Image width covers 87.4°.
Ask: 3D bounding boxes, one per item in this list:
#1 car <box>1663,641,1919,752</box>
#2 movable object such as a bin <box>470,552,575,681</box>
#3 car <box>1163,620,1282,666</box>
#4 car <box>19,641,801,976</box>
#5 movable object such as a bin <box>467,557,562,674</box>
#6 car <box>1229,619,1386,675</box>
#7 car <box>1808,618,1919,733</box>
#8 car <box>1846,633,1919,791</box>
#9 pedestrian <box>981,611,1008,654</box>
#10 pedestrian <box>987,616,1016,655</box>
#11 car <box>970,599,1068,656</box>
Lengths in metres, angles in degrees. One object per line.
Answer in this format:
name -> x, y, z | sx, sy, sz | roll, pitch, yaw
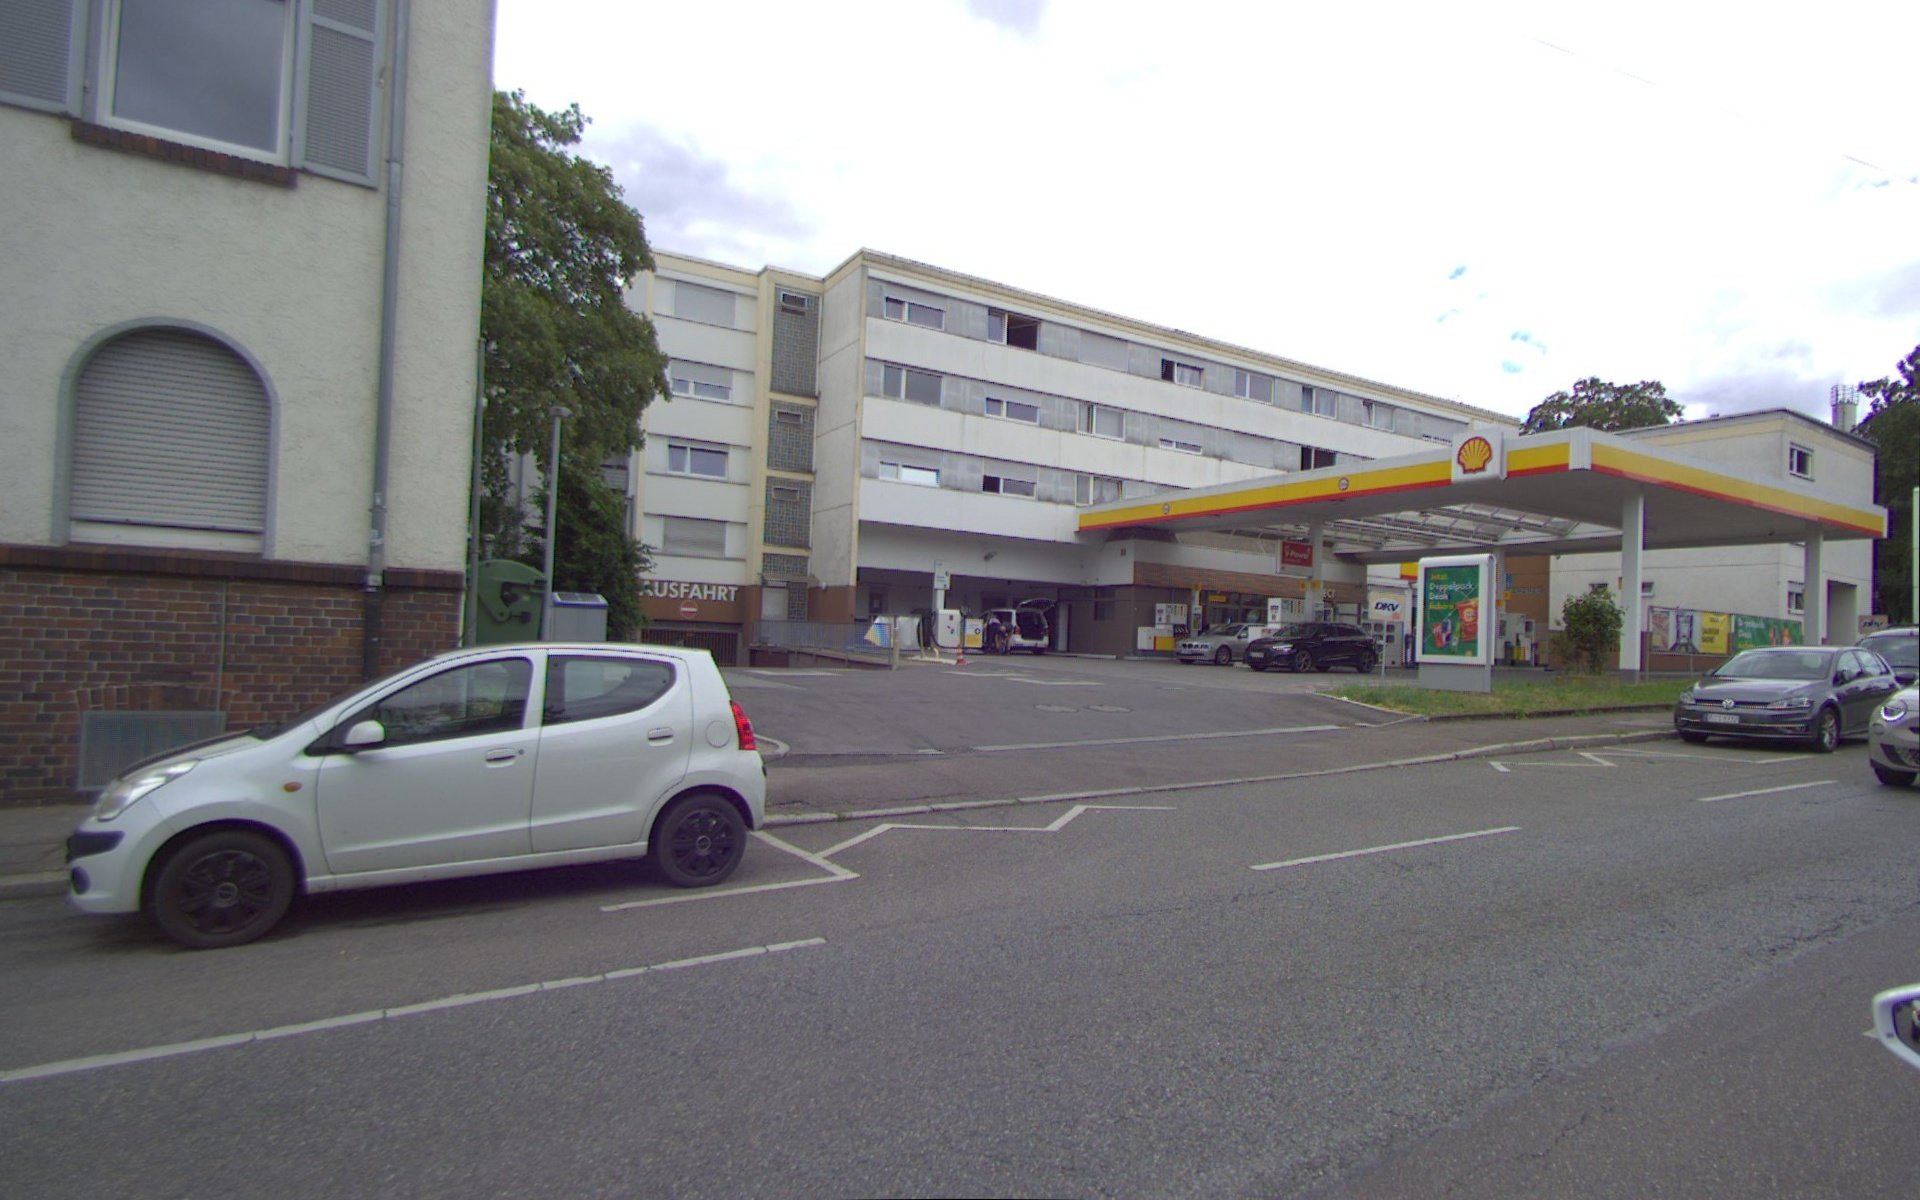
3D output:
car -> 12.609, 1.350, 15.098 | 4.169, 1.469, 1.782 | 1, -3, -30
movable object such as a bin -> -5.637, 0.233, 12.922 | 1.092, 1.558, 1.259 | 1, -3, -30
car -> 8.665, 1.402, 33.146 | 3.594, 1.439, 1.789 | 1, -1, -30
car -> -2.945, 0.979, 6.032 | 3.621, 1.444, 1.612 | 1, -2, -30
movable object such as a bin -> -6.293, 0.243, 14.172 | 1.092, 1.558, 1.259 | 1, -3, -30
car -> 9.811, 1.287, 28.264 | 4.365, 1.439, 1.789 | 1, -1, -30
car -> 17.200, 1.292, 17.891 | 4.650, 1.859, 1.842 | 2, -3, -32
car -> 11.299, 1.131, 10.583 | 3.953, 1.545, 1.789 | 1, -3, -30
pedestrian -> 1.253, 1.174, 36.645 | 0.656, 1.537, 0.795 | 1, 0, -27
pedestrian -> 1.450, 1.252, 35.192 | 0.792, 1.332, 0.659 | 1, 0, -32
car -> 2.128, 0.992, 37.331 | 1.814, 1.989, 3.877 | 2, -1, -30
